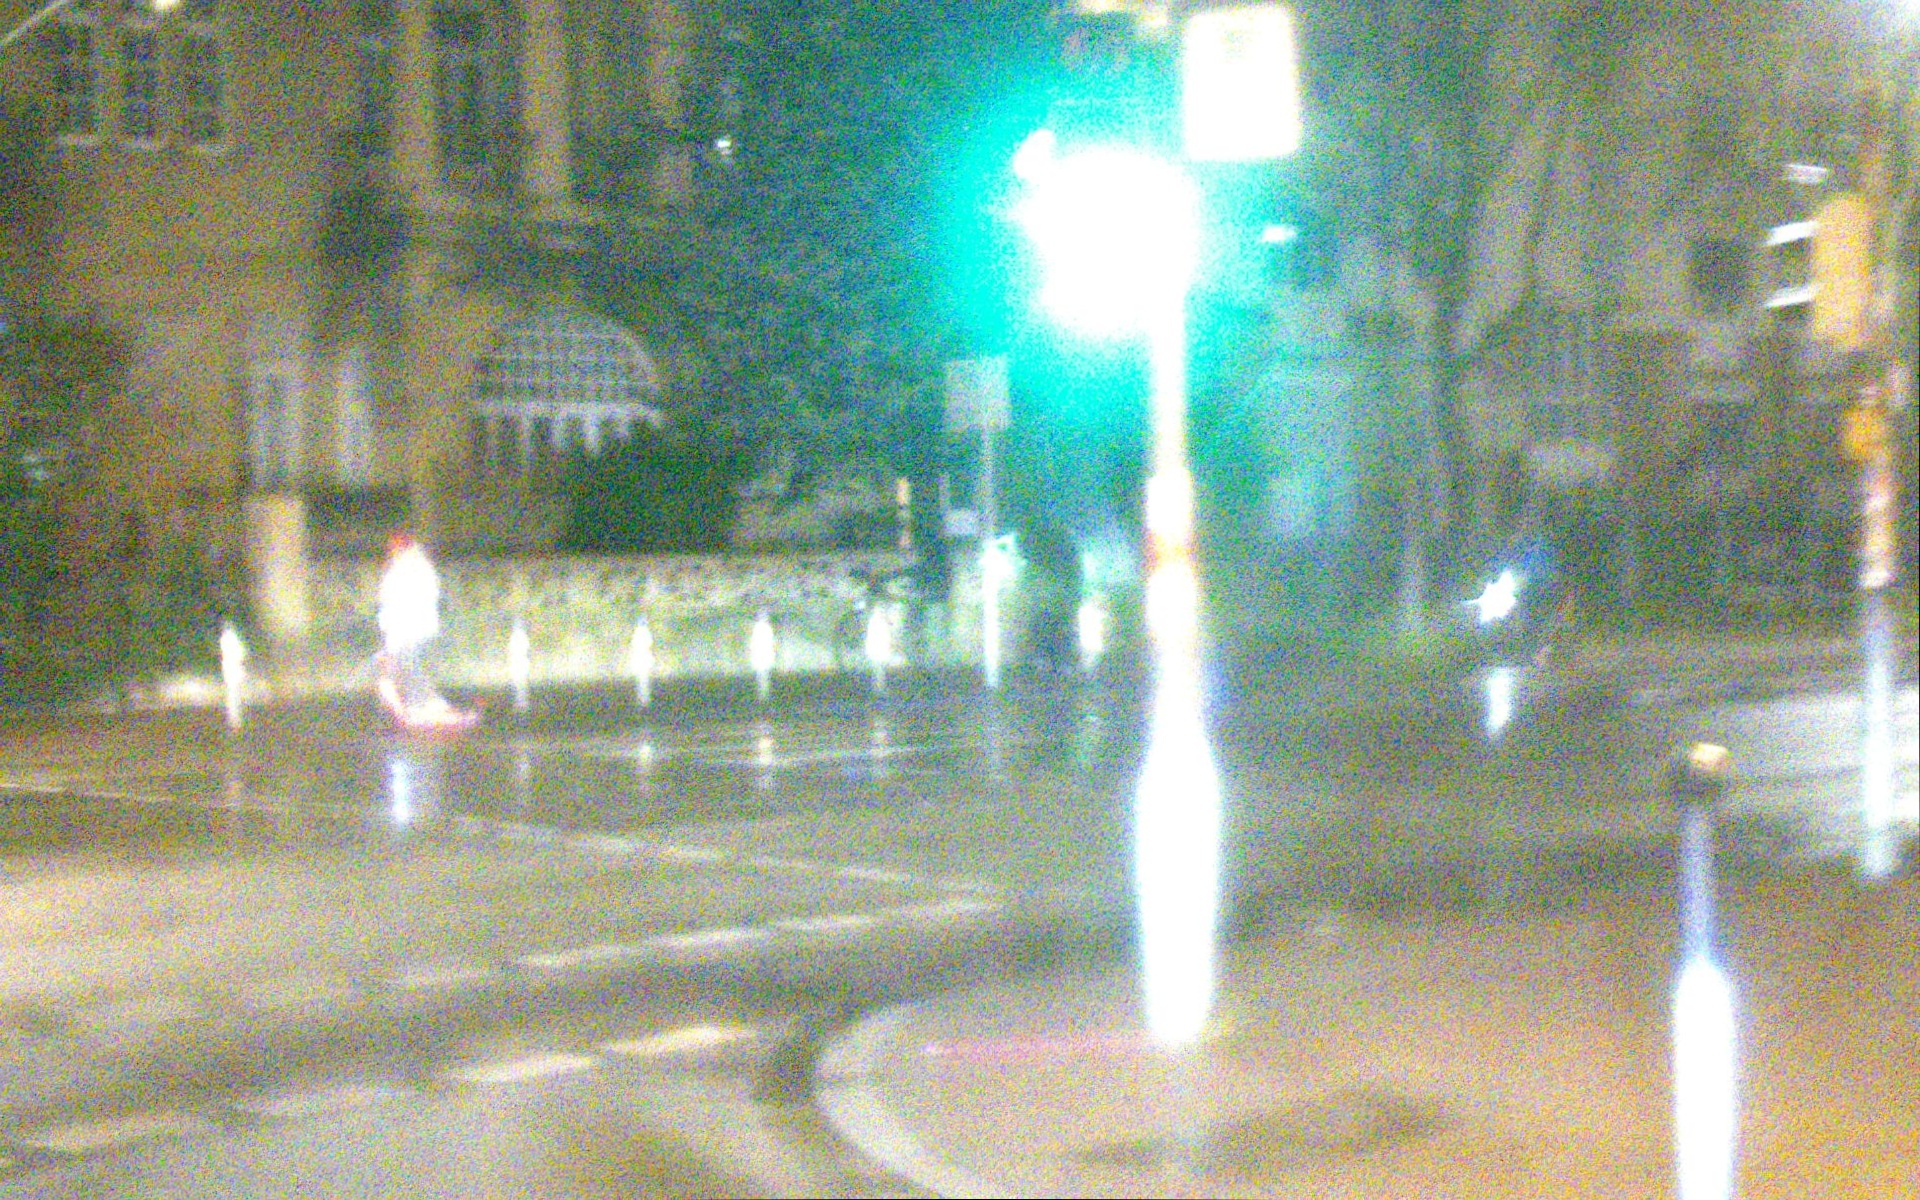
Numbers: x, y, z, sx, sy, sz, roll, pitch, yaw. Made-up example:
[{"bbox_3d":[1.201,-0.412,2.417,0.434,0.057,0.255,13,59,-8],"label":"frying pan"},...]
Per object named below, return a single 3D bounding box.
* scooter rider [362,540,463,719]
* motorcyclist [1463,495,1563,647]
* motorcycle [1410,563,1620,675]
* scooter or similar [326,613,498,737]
[{"bbox_3d":[-4.903,0.256,30.762,0.650,1.567,0.642,0,2,-34],"label":"scooter rider"},{"bbox_3d":[6.465,-0.334,40.210,1.025,1.725,0.710,-2,-1,3],"label":"motorcyclist"},{"bbox_3d":[6.480,0.229,40.198,2.318,1.226,0.710,-2,-1,3],"label":"motorcycle"},{"bbox_3d":[-4.903,0.660,30.773,1.365,1.048,0.642,0,2,-34],"label":"scooter or similar"}]
